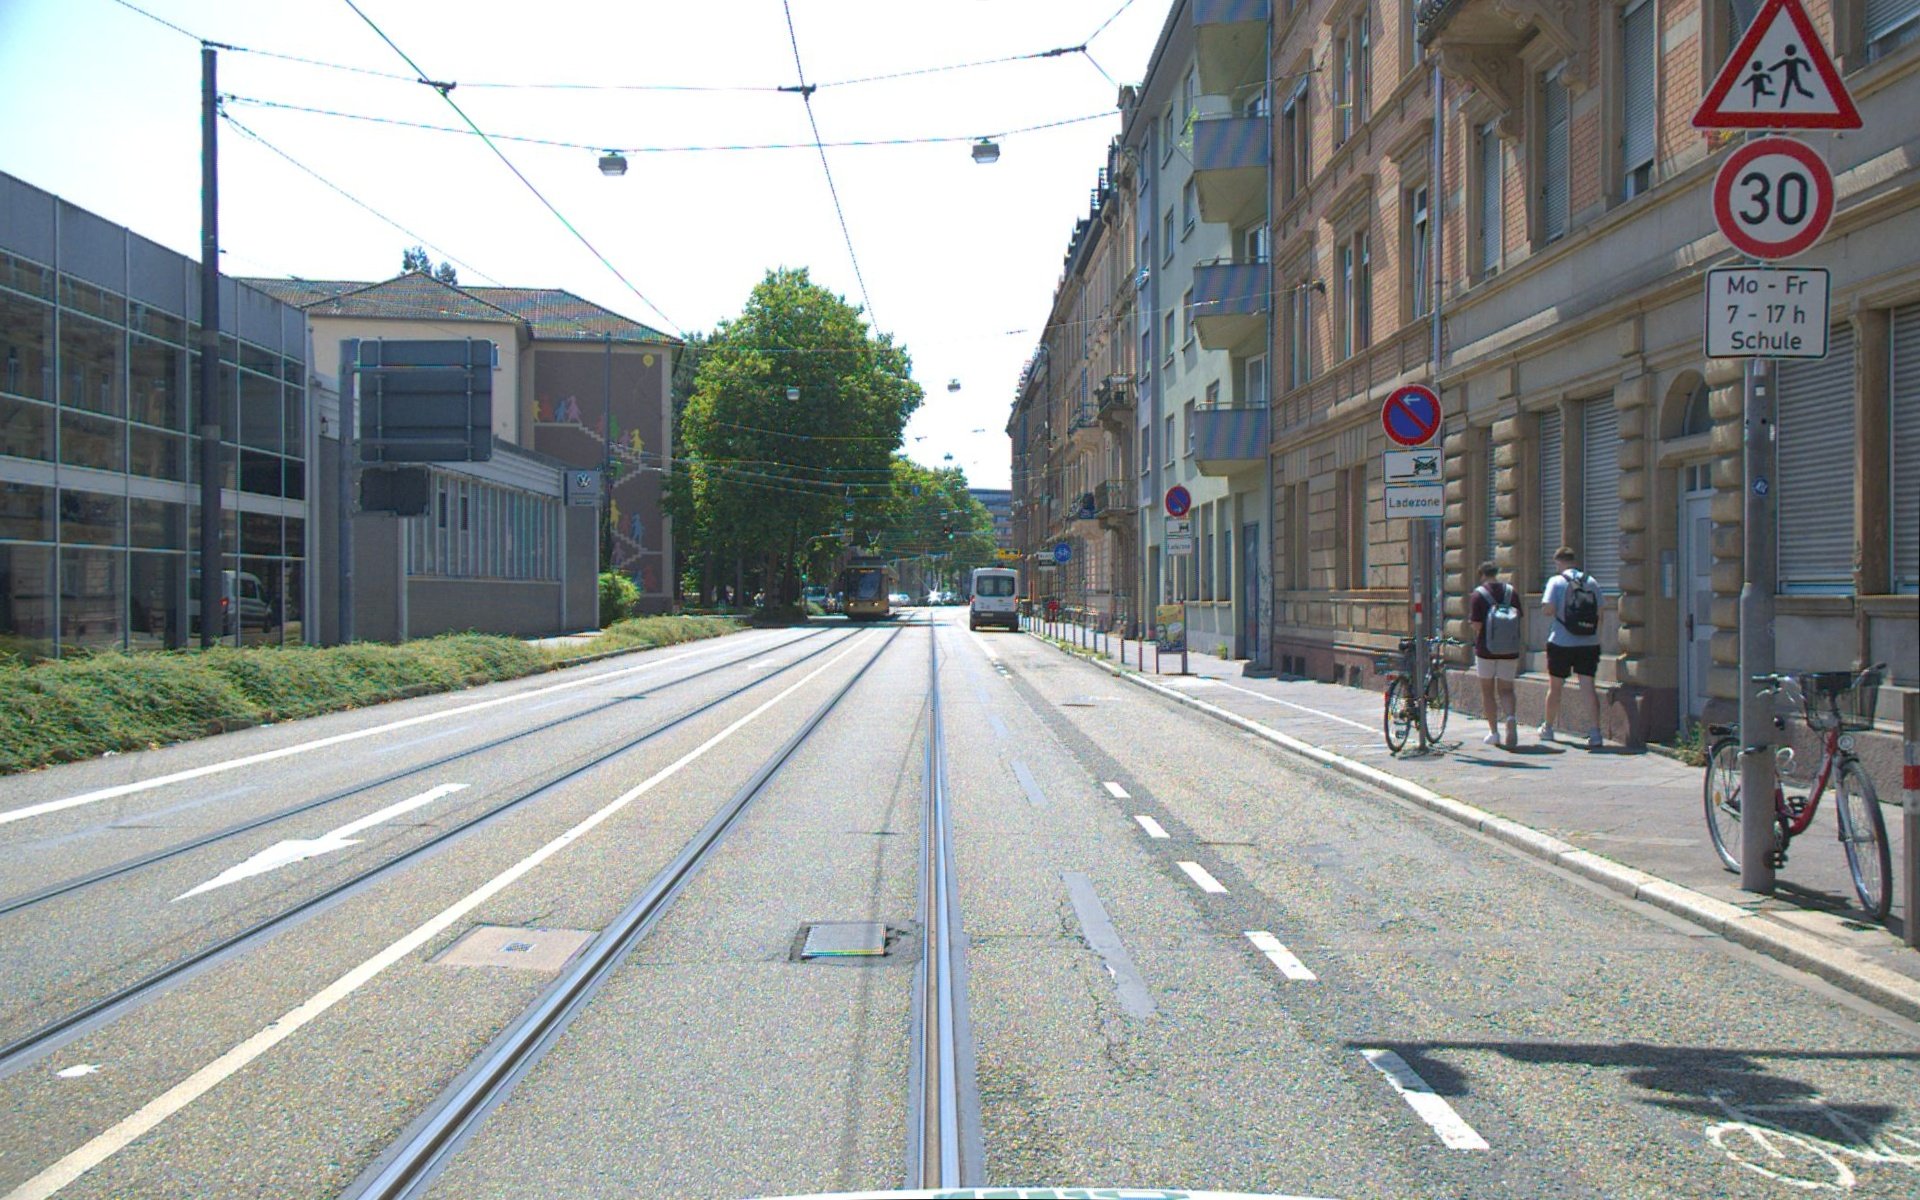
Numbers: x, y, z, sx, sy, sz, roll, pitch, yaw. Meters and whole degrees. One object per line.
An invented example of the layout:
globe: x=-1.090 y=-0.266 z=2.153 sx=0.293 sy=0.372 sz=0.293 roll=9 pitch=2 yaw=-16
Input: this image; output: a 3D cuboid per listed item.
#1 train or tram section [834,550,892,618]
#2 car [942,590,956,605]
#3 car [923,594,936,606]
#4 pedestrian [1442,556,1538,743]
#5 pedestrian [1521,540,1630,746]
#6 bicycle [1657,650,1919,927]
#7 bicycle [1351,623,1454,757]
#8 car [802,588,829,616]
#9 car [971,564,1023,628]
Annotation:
train or tram section: x=-5.500 y=-0.886 z=95.988 sx=2.901 sy=3.643 sz=13.419 roll=0 pitch=0 yaw=-1
car: x=-1.434 y=-0.267 z=212.788 sx=1.641 sy=1.892 sz=3.997 roll=1 pitch=0 yaw=-4
car: x=-3.797 y=0.006 z=205.405 sx=1.498 sy=1.433 sz=3.487 roll=1 pitch=0 yaw=-3
pedestrian: x=5.083 y=0.467 z=15.889 sx=0.705 sy=1.750 sz=0.643 roll=-1 pitch=0 yaw=0
pedestrian: x=5.870 y=0.399 z=15.793 sx=0.688 sy=1.881 sz=0.643 roll=-4 pitch=0 yaw=0
bicycle: x=4.177 y=0.855 z=8.377 sx=0.438 sy=1.116 sz=2.424 roll=-1 pitch=0 yaw=4
bicycle: x=4.270 y=0.816 z=15.861 sx=0.489 sy=1.150 sz=2.240 roll=-1 pitch=0 yaw=27
car: x=-10.440 y=0.124 z=119.407 sx=1.764 sy=1.957 sz=3.997 roll=1 pitch=0 yaw=-3
car: x=1.501 y=-0.177 z=69.527 sx=2.025 sy=2.544 sz=5.454 roll=1 pitch=0 yaw=0
